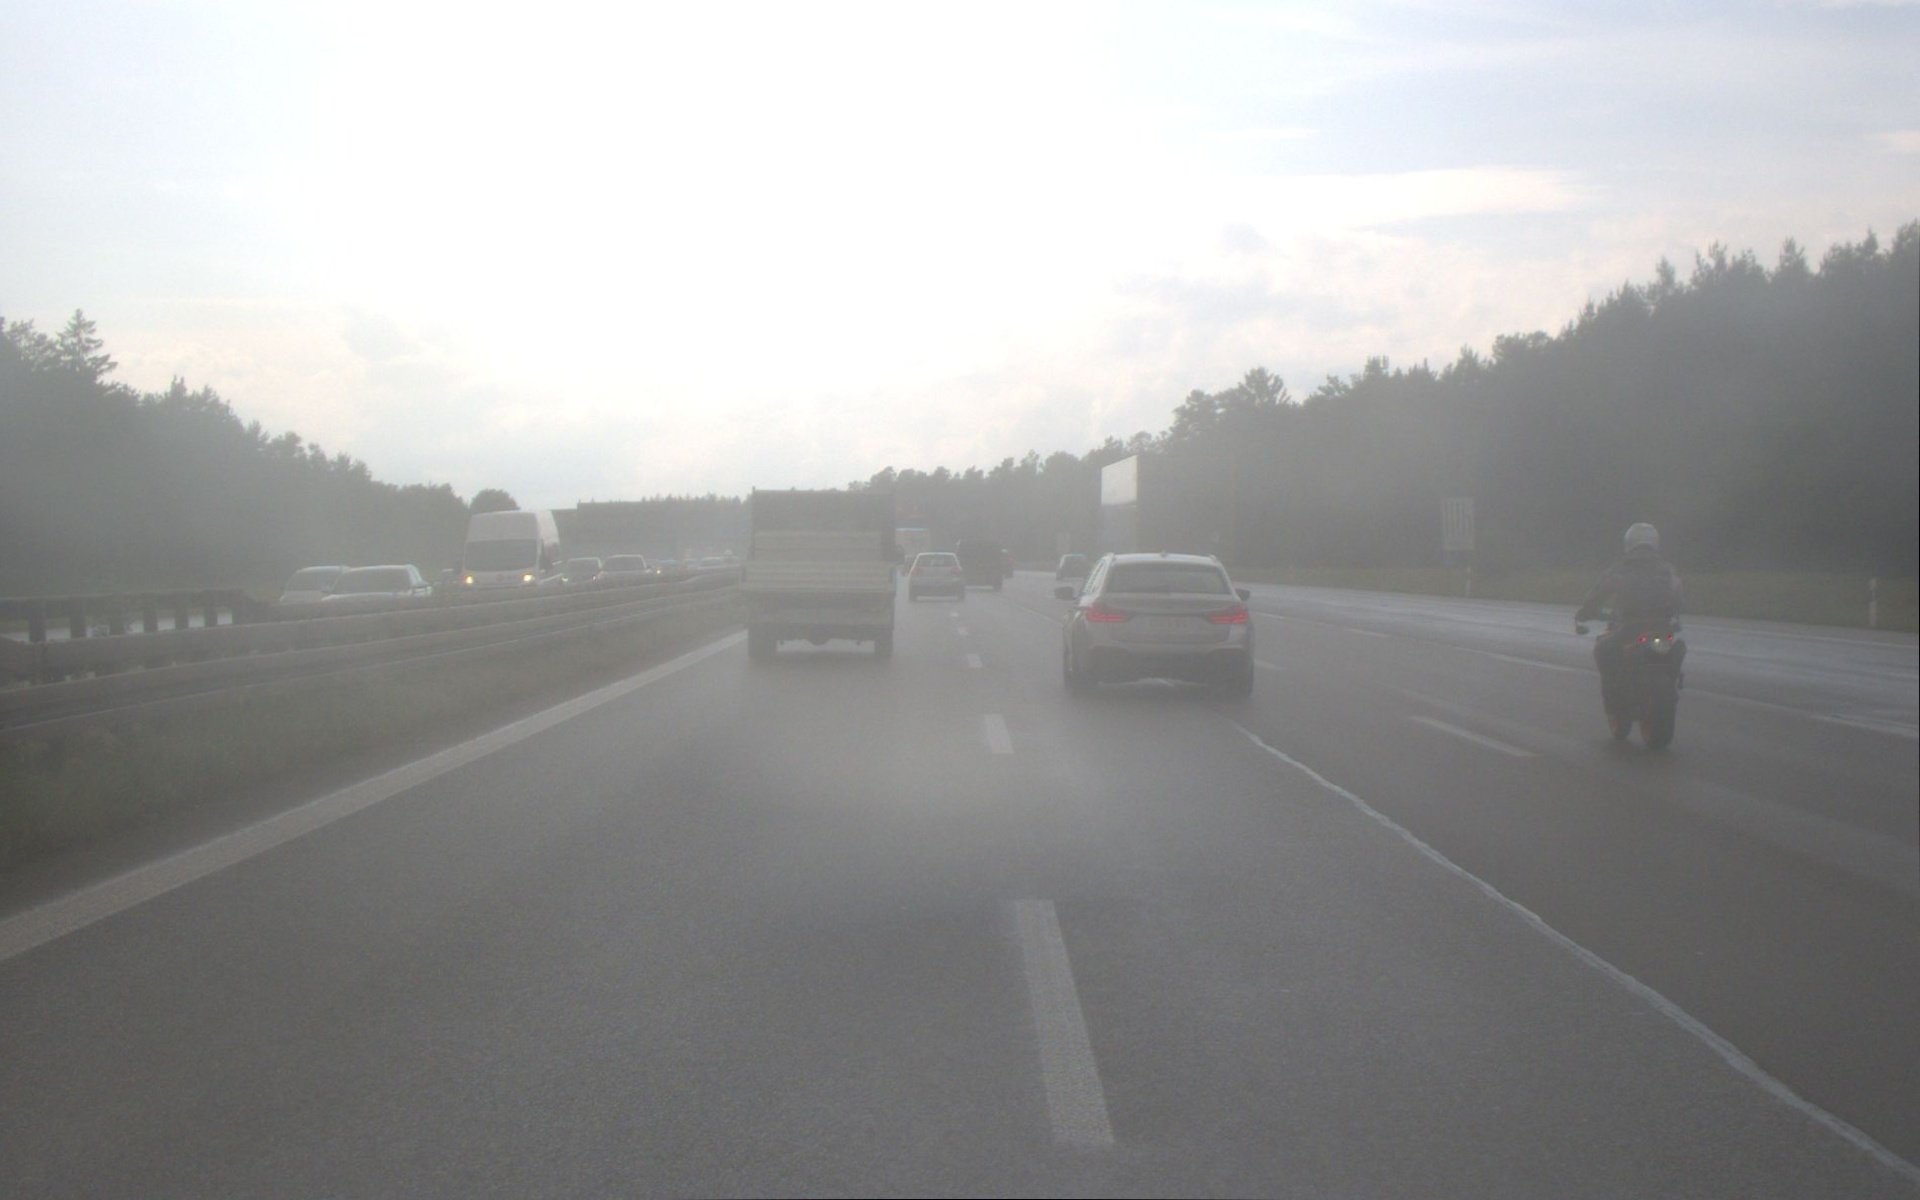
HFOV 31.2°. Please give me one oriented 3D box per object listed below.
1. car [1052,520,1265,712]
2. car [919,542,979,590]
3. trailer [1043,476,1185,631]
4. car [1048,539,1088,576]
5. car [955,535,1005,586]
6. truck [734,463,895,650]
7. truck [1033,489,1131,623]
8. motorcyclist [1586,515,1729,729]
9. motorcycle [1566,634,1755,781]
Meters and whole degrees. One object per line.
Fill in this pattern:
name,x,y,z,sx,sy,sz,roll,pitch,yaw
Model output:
car,2.082,0.113,36.605,2.078,1.878,5.011,1,1,3
car,-0.336,-1.072,106.869,1.831,1.461,4.000,0,1,0
trailer,4.116,-1.266,94.890,2.323,3.988,13.414,0,1,-4
car,6.089,-2.388,193.565,1.993,2.007,4.000,1,1,-1
car,0.794,-1.598,138.453,1.908,2.007,4.000,0,1,-1
truck,-2.032,-0.618,48.502,2.137,2.480,5.313,0,1,-2
truck,3.576,-1.296,101.898,2.293,3.855,5.393,0,1,-4
motorcyclist,5.338,0.163,26.346,0.891,1.609,0.959,0,1,0
motorcycle,5.339,0.799,26.341,1.000,1.028,2.174,0,1,0
